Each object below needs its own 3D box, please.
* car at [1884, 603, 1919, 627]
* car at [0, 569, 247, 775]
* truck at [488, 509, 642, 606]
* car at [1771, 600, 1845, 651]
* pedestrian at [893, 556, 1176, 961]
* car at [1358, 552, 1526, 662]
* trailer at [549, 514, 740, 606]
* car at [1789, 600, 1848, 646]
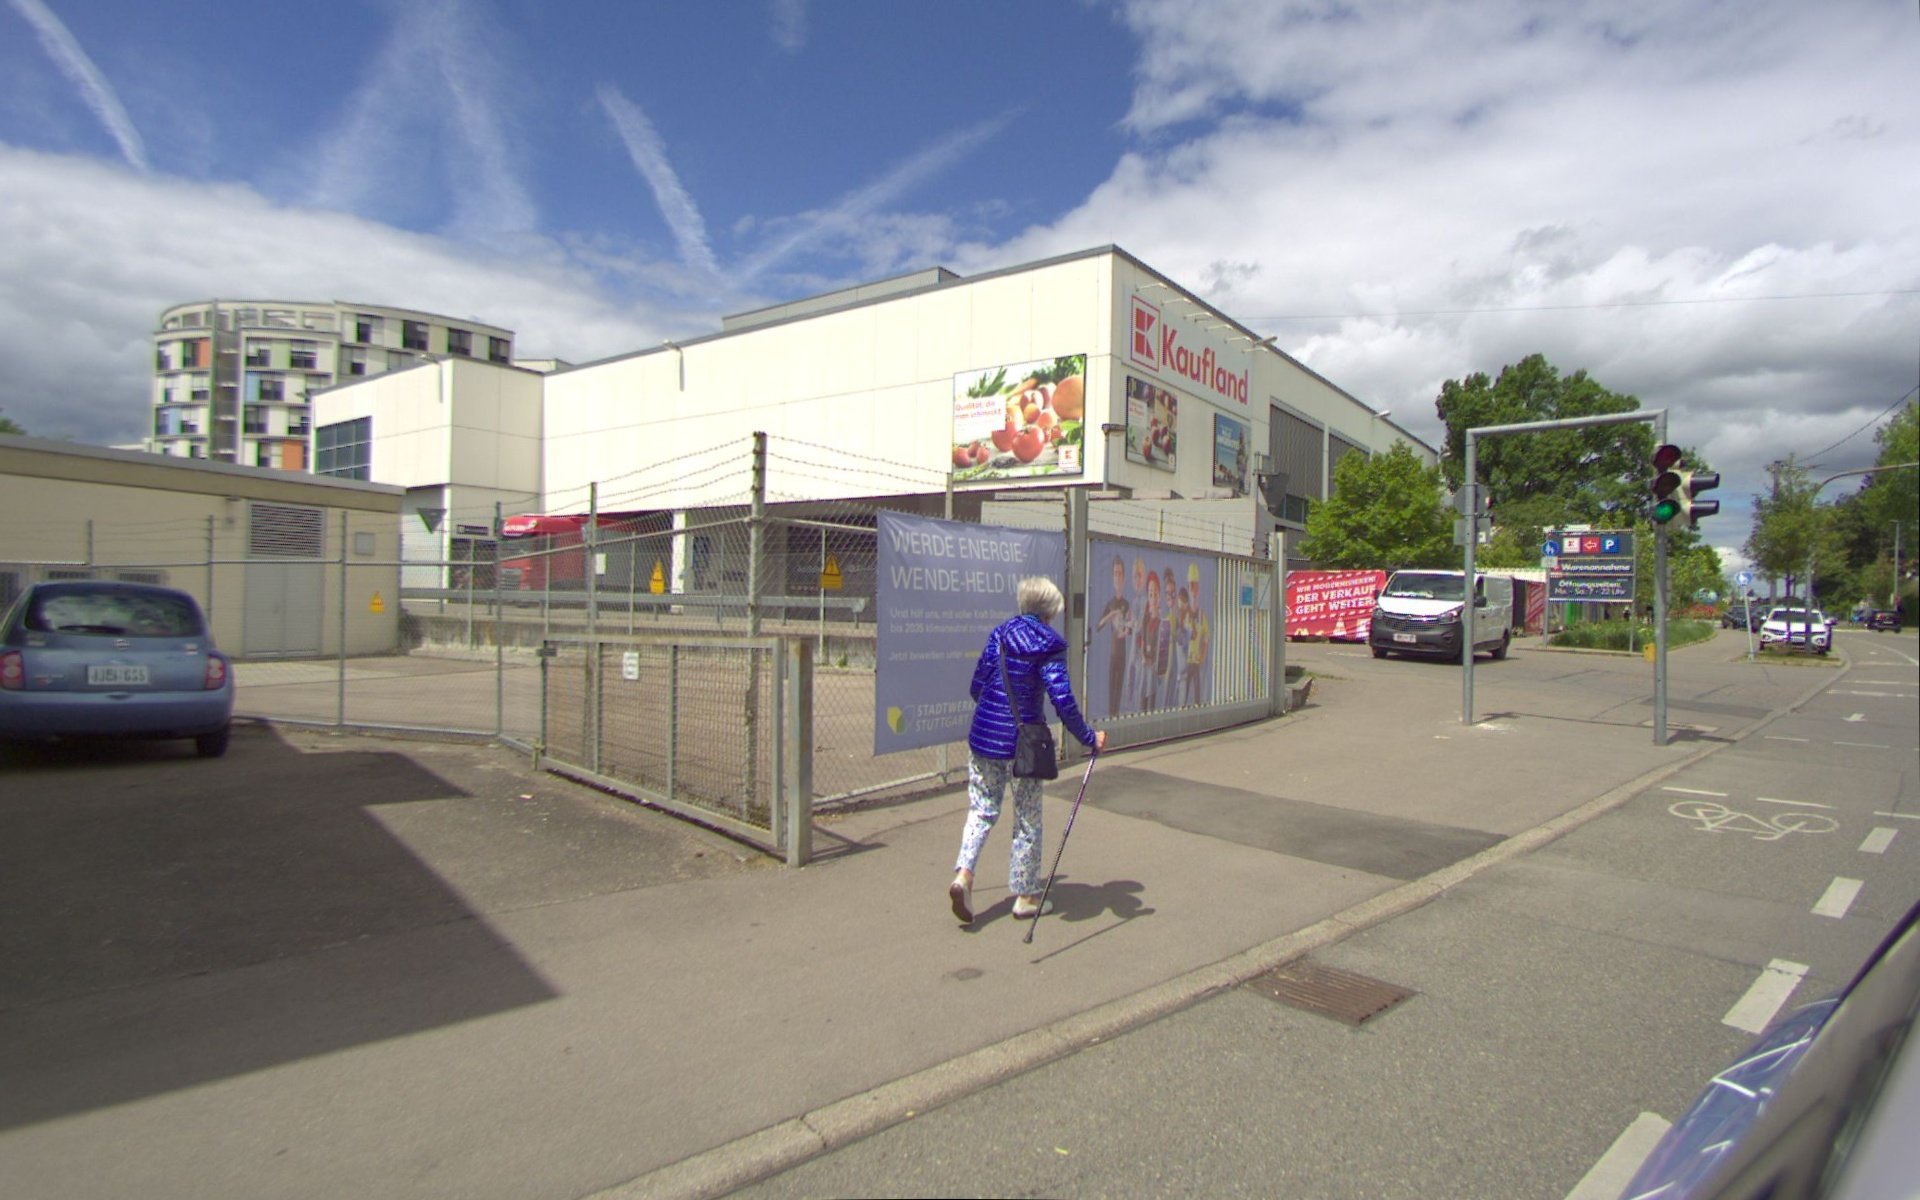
[{"bbox_3d":[64.735,1.027,69.156,1.840,1.575,3.899,-1,-1,36],"label":"car"},{"bbox_3d":[-7.842,0.556,9.161,3.505,1.514,1.632,0,-2,45],"label":"car"},{"bbox_3d":[-17.017,-1.711,43.927,2.586,3.911,5.832,-1,-1,34],"label":"truck"},{"bbox_3d":[29.194,0.838,34.856,1.789,1.549,3.863,4,3,40],"label":"car"},{"bbox_3d":[0.347,0.611,4.617,0.972,1.592,0.824,1,1,-45],"label":"pedestrian"},{"bbox_3d":[10.678,0.099,22.184,1.992,2.048,5.274,5,3,40],"label":"car"},{"bbox_3d":[-14.558,-1.696,47.589,2.585,3.911,8.954,-1,-1,34],"label":"trailer"},{"bbox_3d":[33.000,0.849,38.878,1.597,1.580,3.734,4,3,41],"label":"car"}]
